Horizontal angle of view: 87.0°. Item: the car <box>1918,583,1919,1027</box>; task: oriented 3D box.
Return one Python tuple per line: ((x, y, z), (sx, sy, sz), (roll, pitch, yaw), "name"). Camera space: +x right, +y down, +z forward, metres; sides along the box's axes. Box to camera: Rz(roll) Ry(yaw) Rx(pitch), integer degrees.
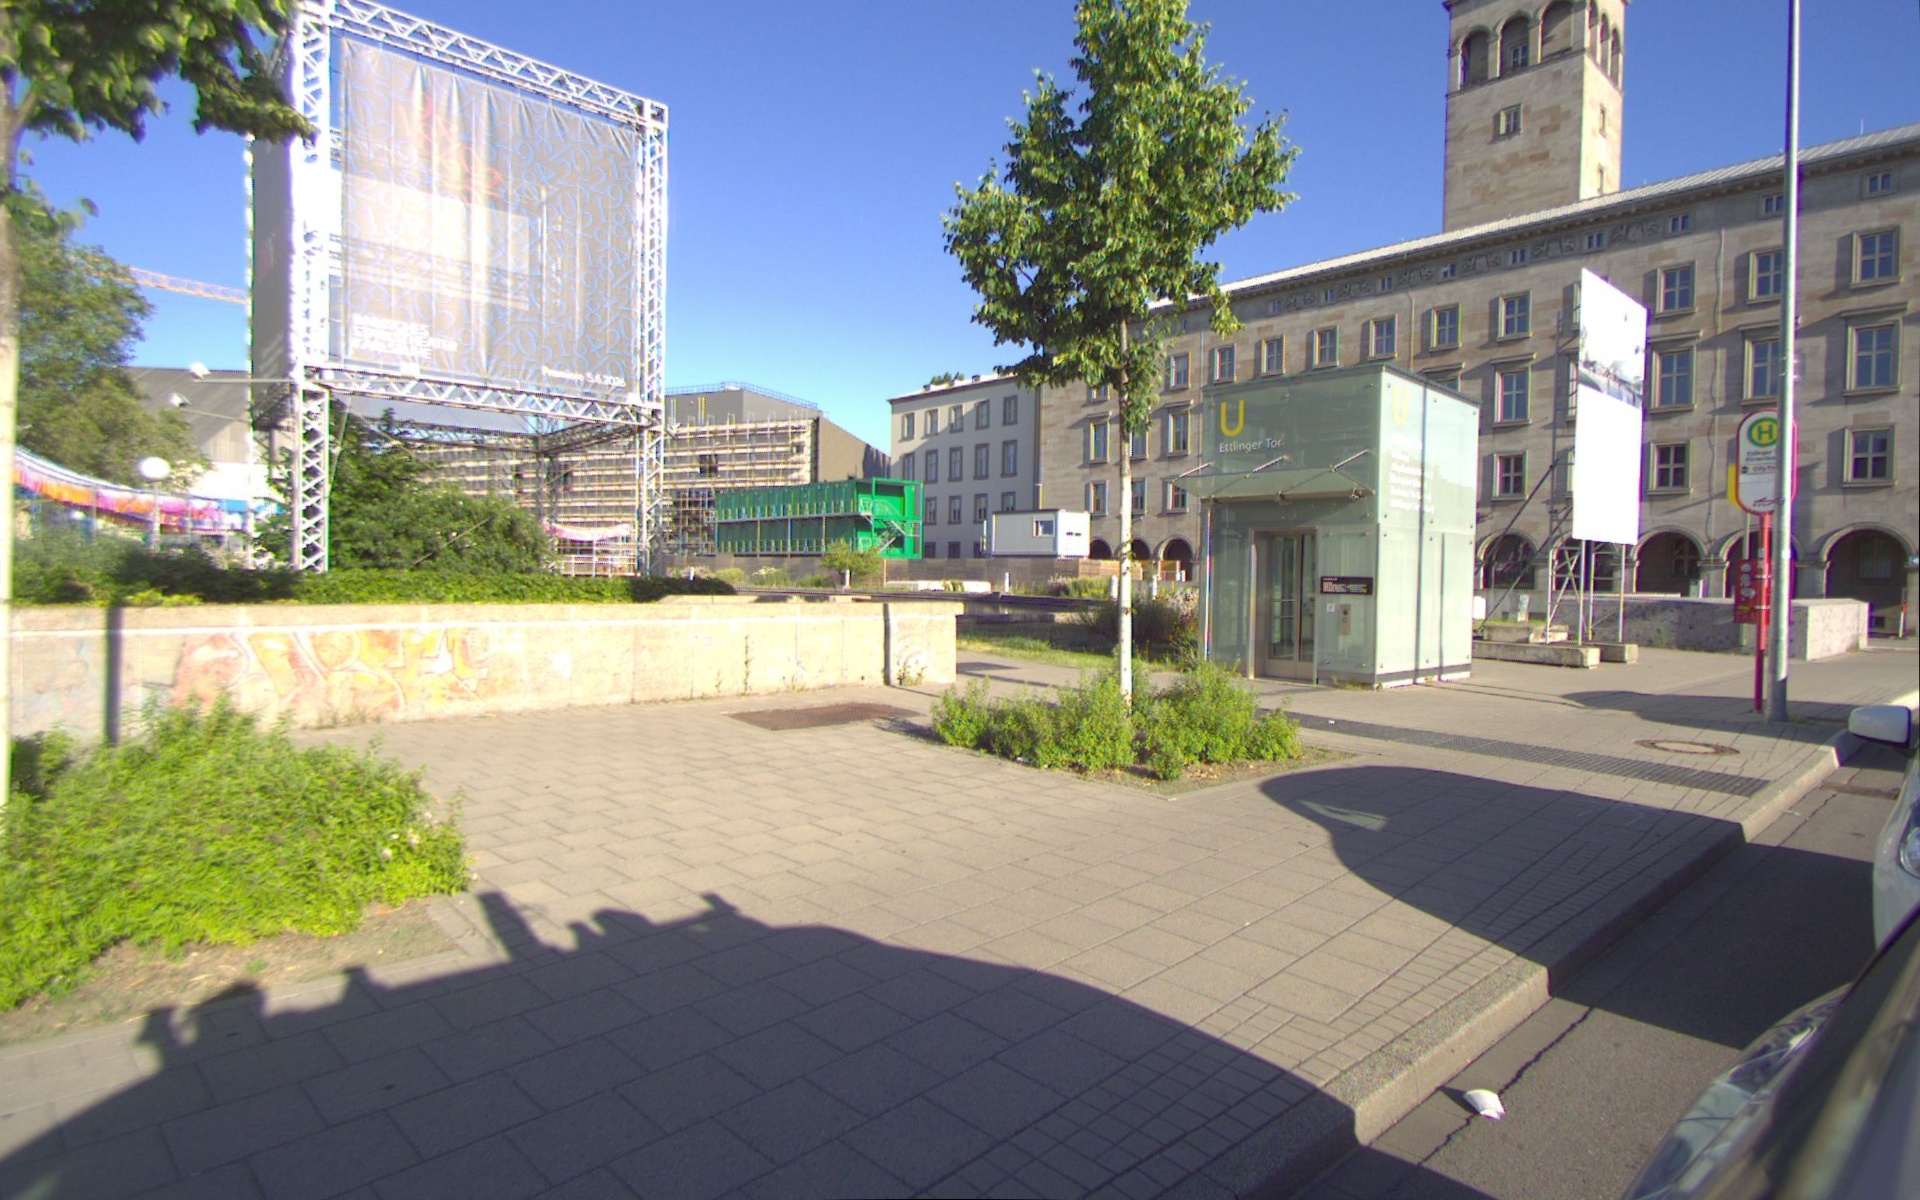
((5.045, 0.707, 3.997), (3.541, 1.504, 1.495), (0, 0, -41), "car")
